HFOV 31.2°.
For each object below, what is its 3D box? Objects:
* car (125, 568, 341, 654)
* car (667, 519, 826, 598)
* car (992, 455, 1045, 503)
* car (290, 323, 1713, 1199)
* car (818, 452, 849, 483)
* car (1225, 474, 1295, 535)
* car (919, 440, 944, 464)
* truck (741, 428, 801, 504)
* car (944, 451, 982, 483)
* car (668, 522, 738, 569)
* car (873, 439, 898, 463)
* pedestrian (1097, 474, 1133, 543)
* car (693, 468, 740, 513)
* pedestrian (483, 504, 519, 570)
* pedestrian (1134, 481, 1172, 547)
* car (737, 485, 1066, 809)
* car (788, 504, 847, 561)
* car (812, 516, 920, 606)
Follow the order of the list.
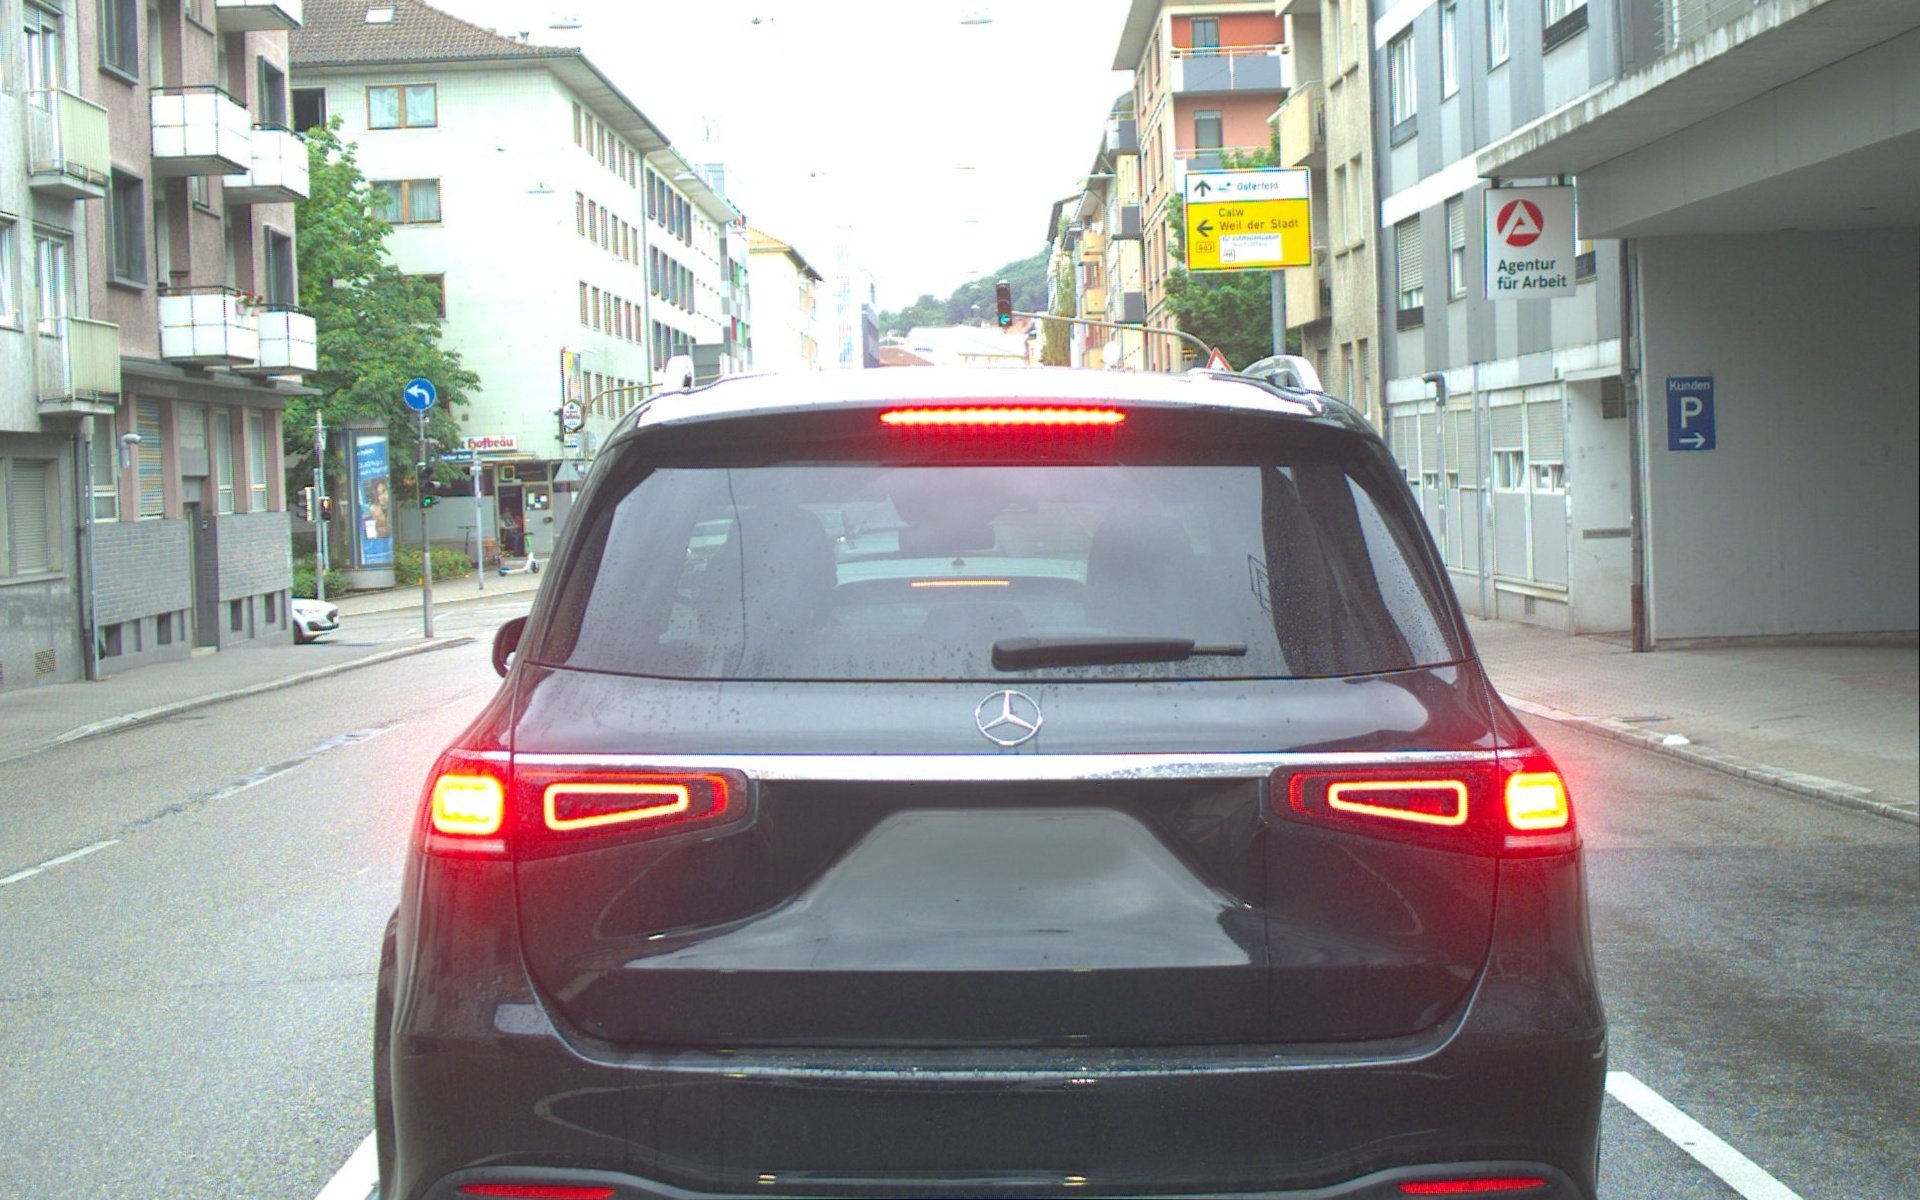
[{"bbox_3d":[-15.354,0.224,72.783,4.343,1.534,1.778,-3,1,-10],"label":"car"},{"bbox_3d":[-4.754,-0.908,76.138,1.618,1.534,4.217,-4,1,-32],"label":"car"},{"bbox_3d":[2.275,-4.748,135.229,1.723,1.753,4.219,-3,2,-3],"label":"car"},{"bbox_3d":[0.030,0.502,7.033,1.985,1.799,4.390,1,1,-1],"label":"car"},{"bbox_3d":[-7.134,-7.461,193.647,1.618,1.534,4.218,-3,1,-3],"label":"car"},{"bbox_3d":[8.229,-2.619,94.619,1.671,1.583,3.330,-2,1,2],"label":"car"},{"bbox_3d":[-2.115,-10.855,252.379,1.618,1.534,4.218,-3,1,-3],"label":"car"},{"bbox_3d":[-8.604,-6.075,157.018,2.479,3.035,9.921,-3,1,-3],"label":"truck"},{"bbox_3d":[0.128,-6.631,171.197,1.618,1.382,4.218,-3,1,-3],"label":"car"},{"bbox_3d":[-7.537,-1.593,101.171,1.885,1.260,4.218,-3,1,-3],"label":"car"},{"bbox_3d":[-5.454,-10.832,250.087,1.618,1.534,4.218,-3,1,-3],"label":"car"},{"bbox_3d":[4.596,-2.702,101.795,0.923,2.007,0.706,-2,1,-2],"label":"pedestrian"},{"bbox_3d":[-9.311,-4.183,131.601,1.618,1.534,4.218,-3,1,-3],"label":"car"},{"bbox_3d":[-13.587,-1.867,101.870,0.923,1.895,0.706,-2,1,-2],"label":"pedestrian"},{"bbox_3d":[5.432,-2.419,96.733,0.923,1.798,0.706,-2,1,-2],"label":"pedestrian"},{"bbox_3d":[-0.419,0.235,20.846,1.751,1.725,4.218,-1,1,-3],"label":"car"},{"bbox_3d":[-4.223,-1.976,101.232,1.618,1.534,4.218,-3,1,-3],"label":"car"},{"bbox_3d":[-1.755,-0.736,65.066,1.815,1.534,4.218,-3,1,0],"label":"car"}]
